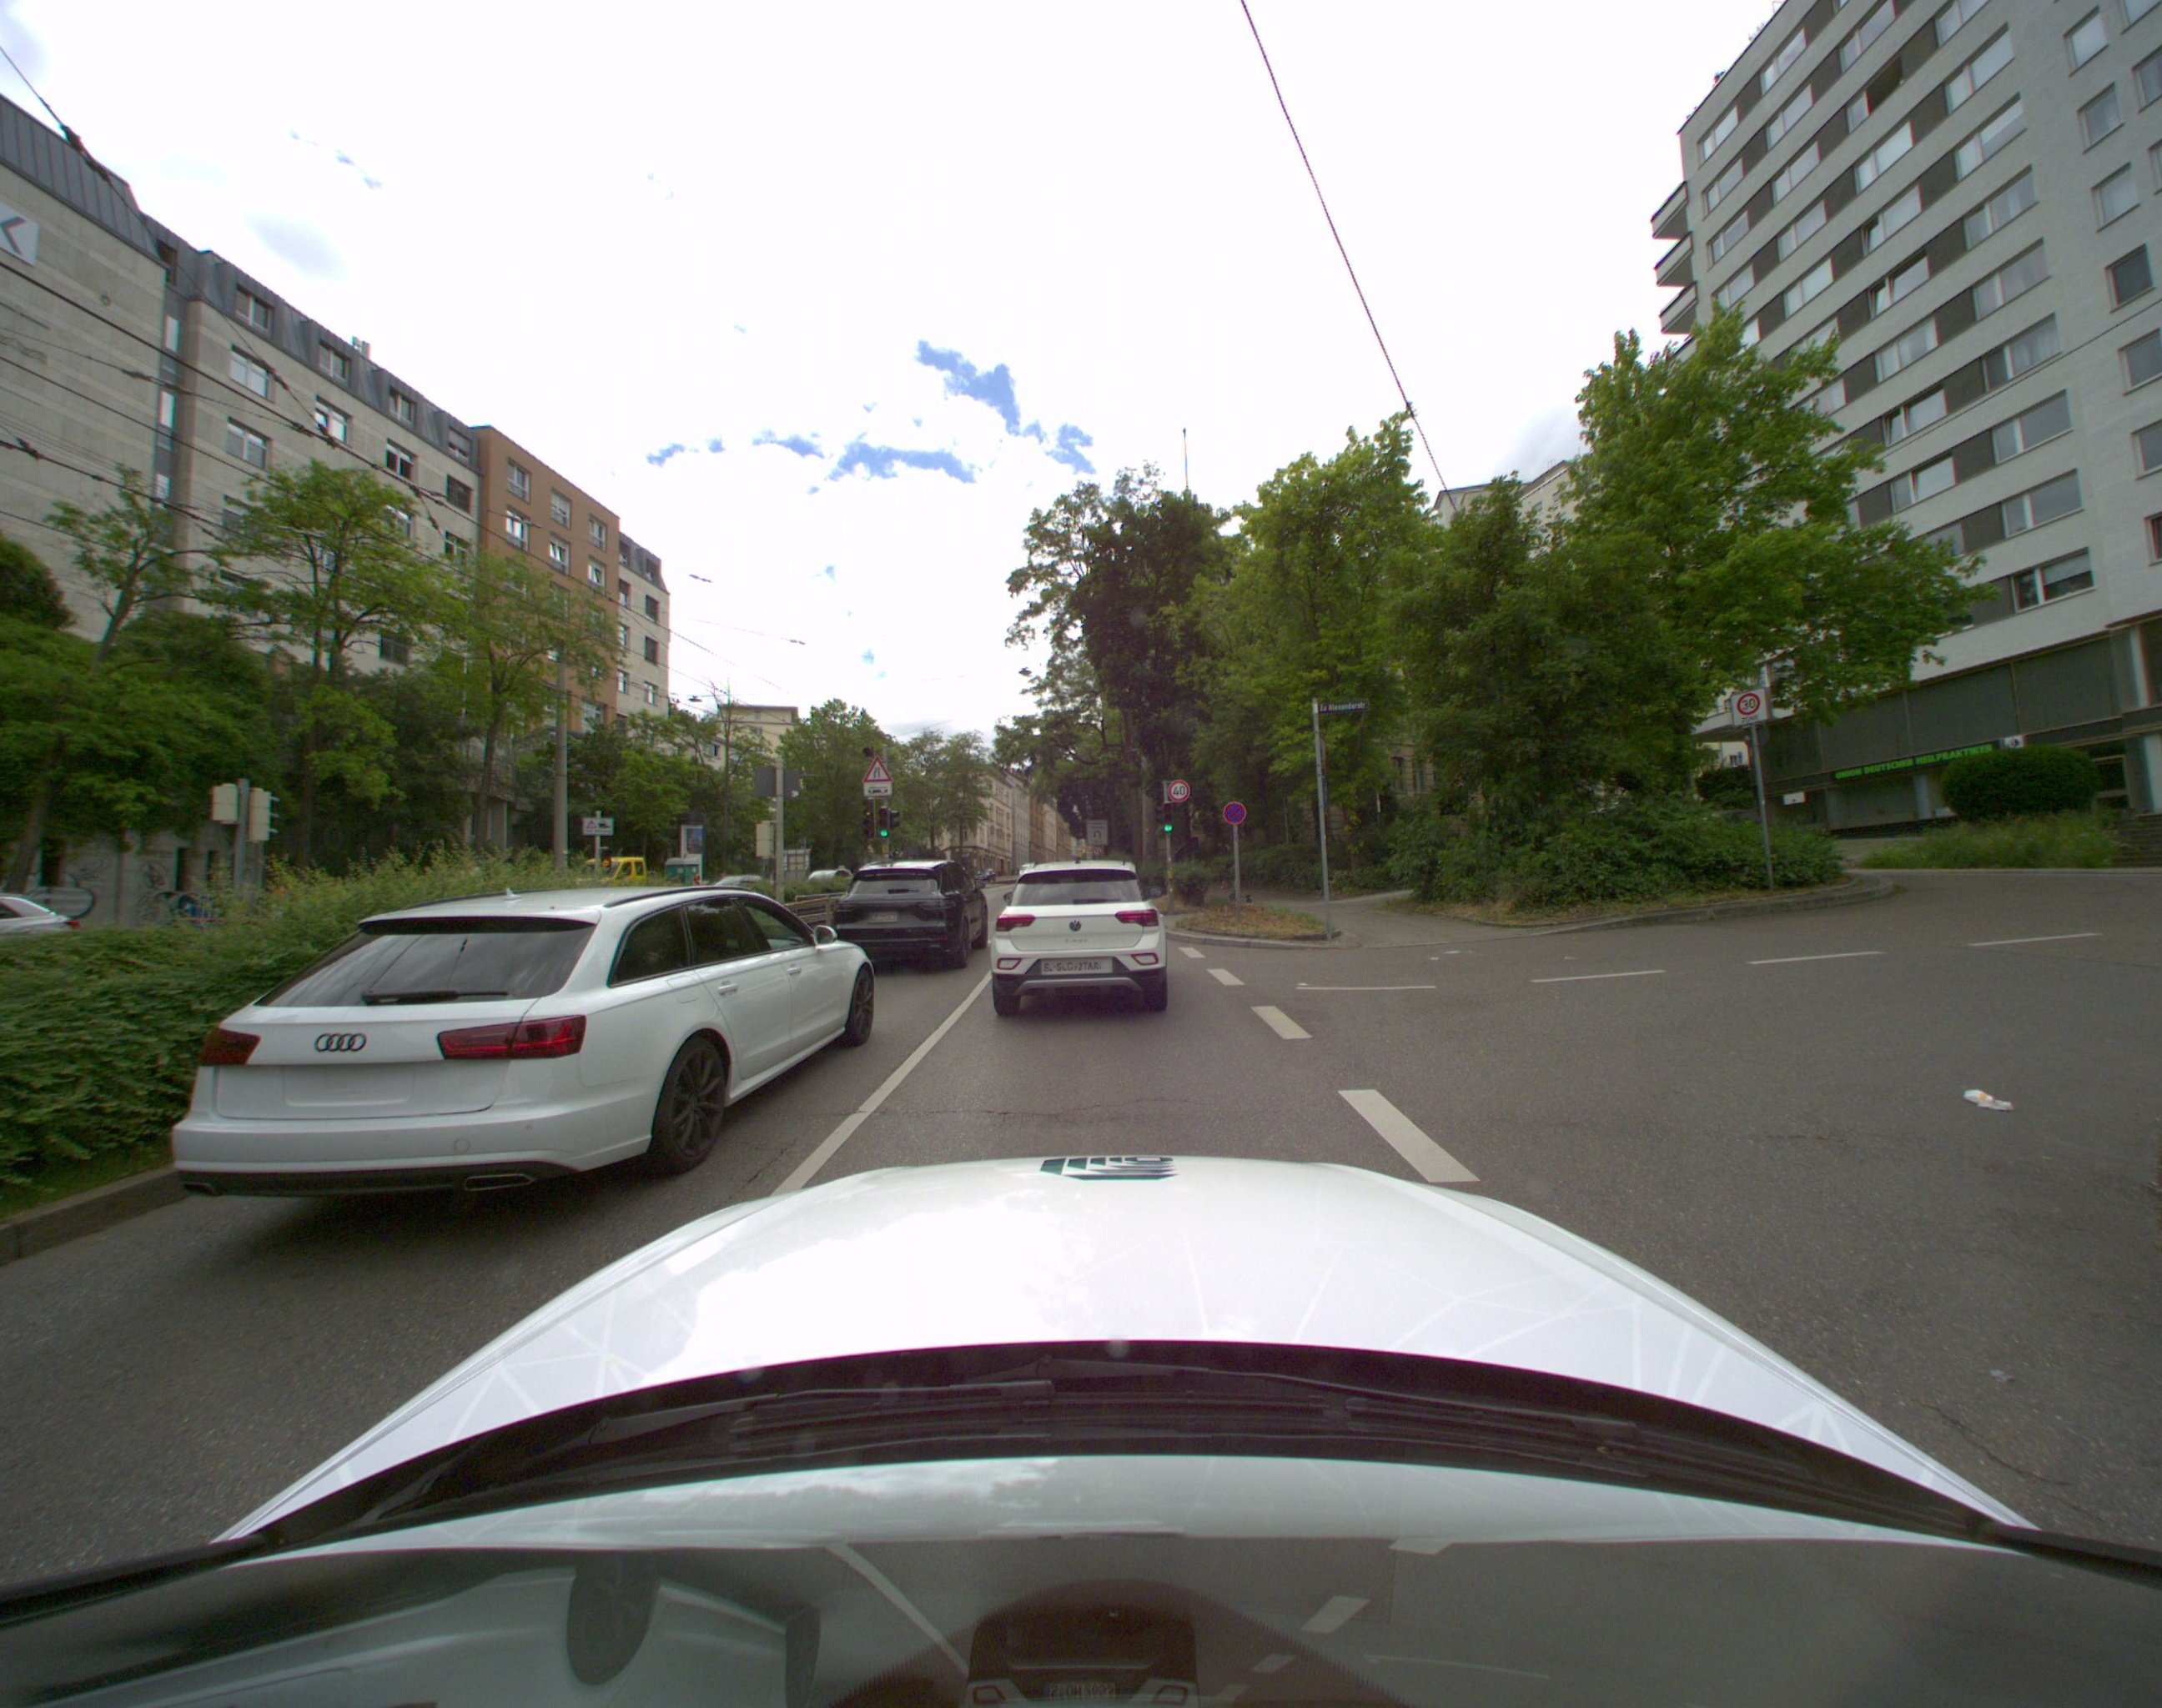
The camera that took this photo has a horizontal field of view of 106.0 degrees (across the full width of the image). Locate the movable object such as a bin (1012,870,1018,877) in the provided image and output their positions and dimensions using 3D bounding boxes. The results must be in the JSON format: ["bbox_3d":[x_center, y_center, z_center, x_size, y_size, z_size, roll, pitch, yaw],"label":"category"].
[{"bbox_3d":[-10.315,3.022,126.892,0.683,1.074,0.678,-2,-1,7],"label":"movable object such as a bin"}]

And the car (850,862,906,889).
[{"bbox_3d":[-13.348,1.394,53.860,1.983,1.605,4.618,-3,-1,6],"label":"car"}]

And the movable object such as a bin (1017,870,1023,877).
[{"bbox_3d":[-9.829,3.080,131.111,0.724,1.074,0.672,-2,-1,7],"label":"movable object such as a bin"}]

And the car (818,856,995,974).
[{"bbox_3d":[-2.669,0.885,13.567,2.032,1.571,4.356,-2,-1,-1],"label":"car"}]

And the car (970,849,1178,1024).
[{"bbox_3d":[-0.016,0.794,9.560,1.872,1.555,4.001,-2,-1,1],"label":"car"}]

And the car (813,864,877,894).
[{"bbox_3d":[-14.091,1.456,48.857,1.983,1.605,4.628,-3,-1,6],"label":"car"}]

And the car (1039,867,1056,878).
[{"bbox_3d":[-5.036,2.746,121.507,1.984,1.552,4.005,-3,-1,5],"label":"car"}]

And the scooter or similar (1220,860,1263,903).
[{"bbox_3d":[4.743,0.802,24.165,0.631,1.210,1.550,-2,-1,-14],"label":"scooter or similar"}]

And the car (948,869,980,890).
[{"bbox_3d":[-10.131,2.187,70.687,1.985,1.618,4.002,-3,-1,3],"label":"car"}]

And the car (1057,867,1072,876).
[{"bbox_3d":[-2.813,2.999,140.455,1.984,1.552,4.005,-3,-1,5],"label":"car"}]

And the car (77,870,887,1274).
[{"bbox_3d":[-2.853,0.880,5.426,1.872,1.455,4.618,-2,-1,1],"label":"car"}]

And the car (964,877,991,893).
[{"bbox_3d":[-10.422,3.121,82.272,1.758,1.408,4.087,-2,-1,4],"label":"car"}]

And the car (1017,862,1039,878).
[{"bbox_3d":[-6.921,2.039,106.805,1.937,1.946,5.011,-2,0,7],"label":"car"}]

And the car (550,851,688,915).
[{"bbox_3d":[-20.712,1.242,36.987,2.146,2.594,6.344,-2,-1,5],"label":"car"}]

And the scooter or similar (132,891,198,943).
[{"bbox_3d":[-24.618,1.670,21.902,0.427,1.289,1.288,-2,0,-9],"label":"scooter or similar"}]

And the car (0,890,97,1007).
[{"bbox_3d":[-15.561,1.327,10.198,1.699,1.567,3.994,-2,-1,-4],"label":"car"}]

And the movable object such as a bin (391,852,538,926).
[{"bbox_3d":[-22.039,1.186,29.345,1.924,2.468,4.103,0,0,5],"label":"movable object such as a bin"}]

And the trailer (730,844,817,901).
[{"bbox_3d":[-17.064,1.006,45.562,2.007,2.973,5.603,-1,-1,9],"label":"trailer"}]

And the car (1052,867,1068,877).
[{"bbox_3d":[-3.358,2.862,130.515,1.984,1.552,4.005,-3,-1,5],"label":"car"}]
